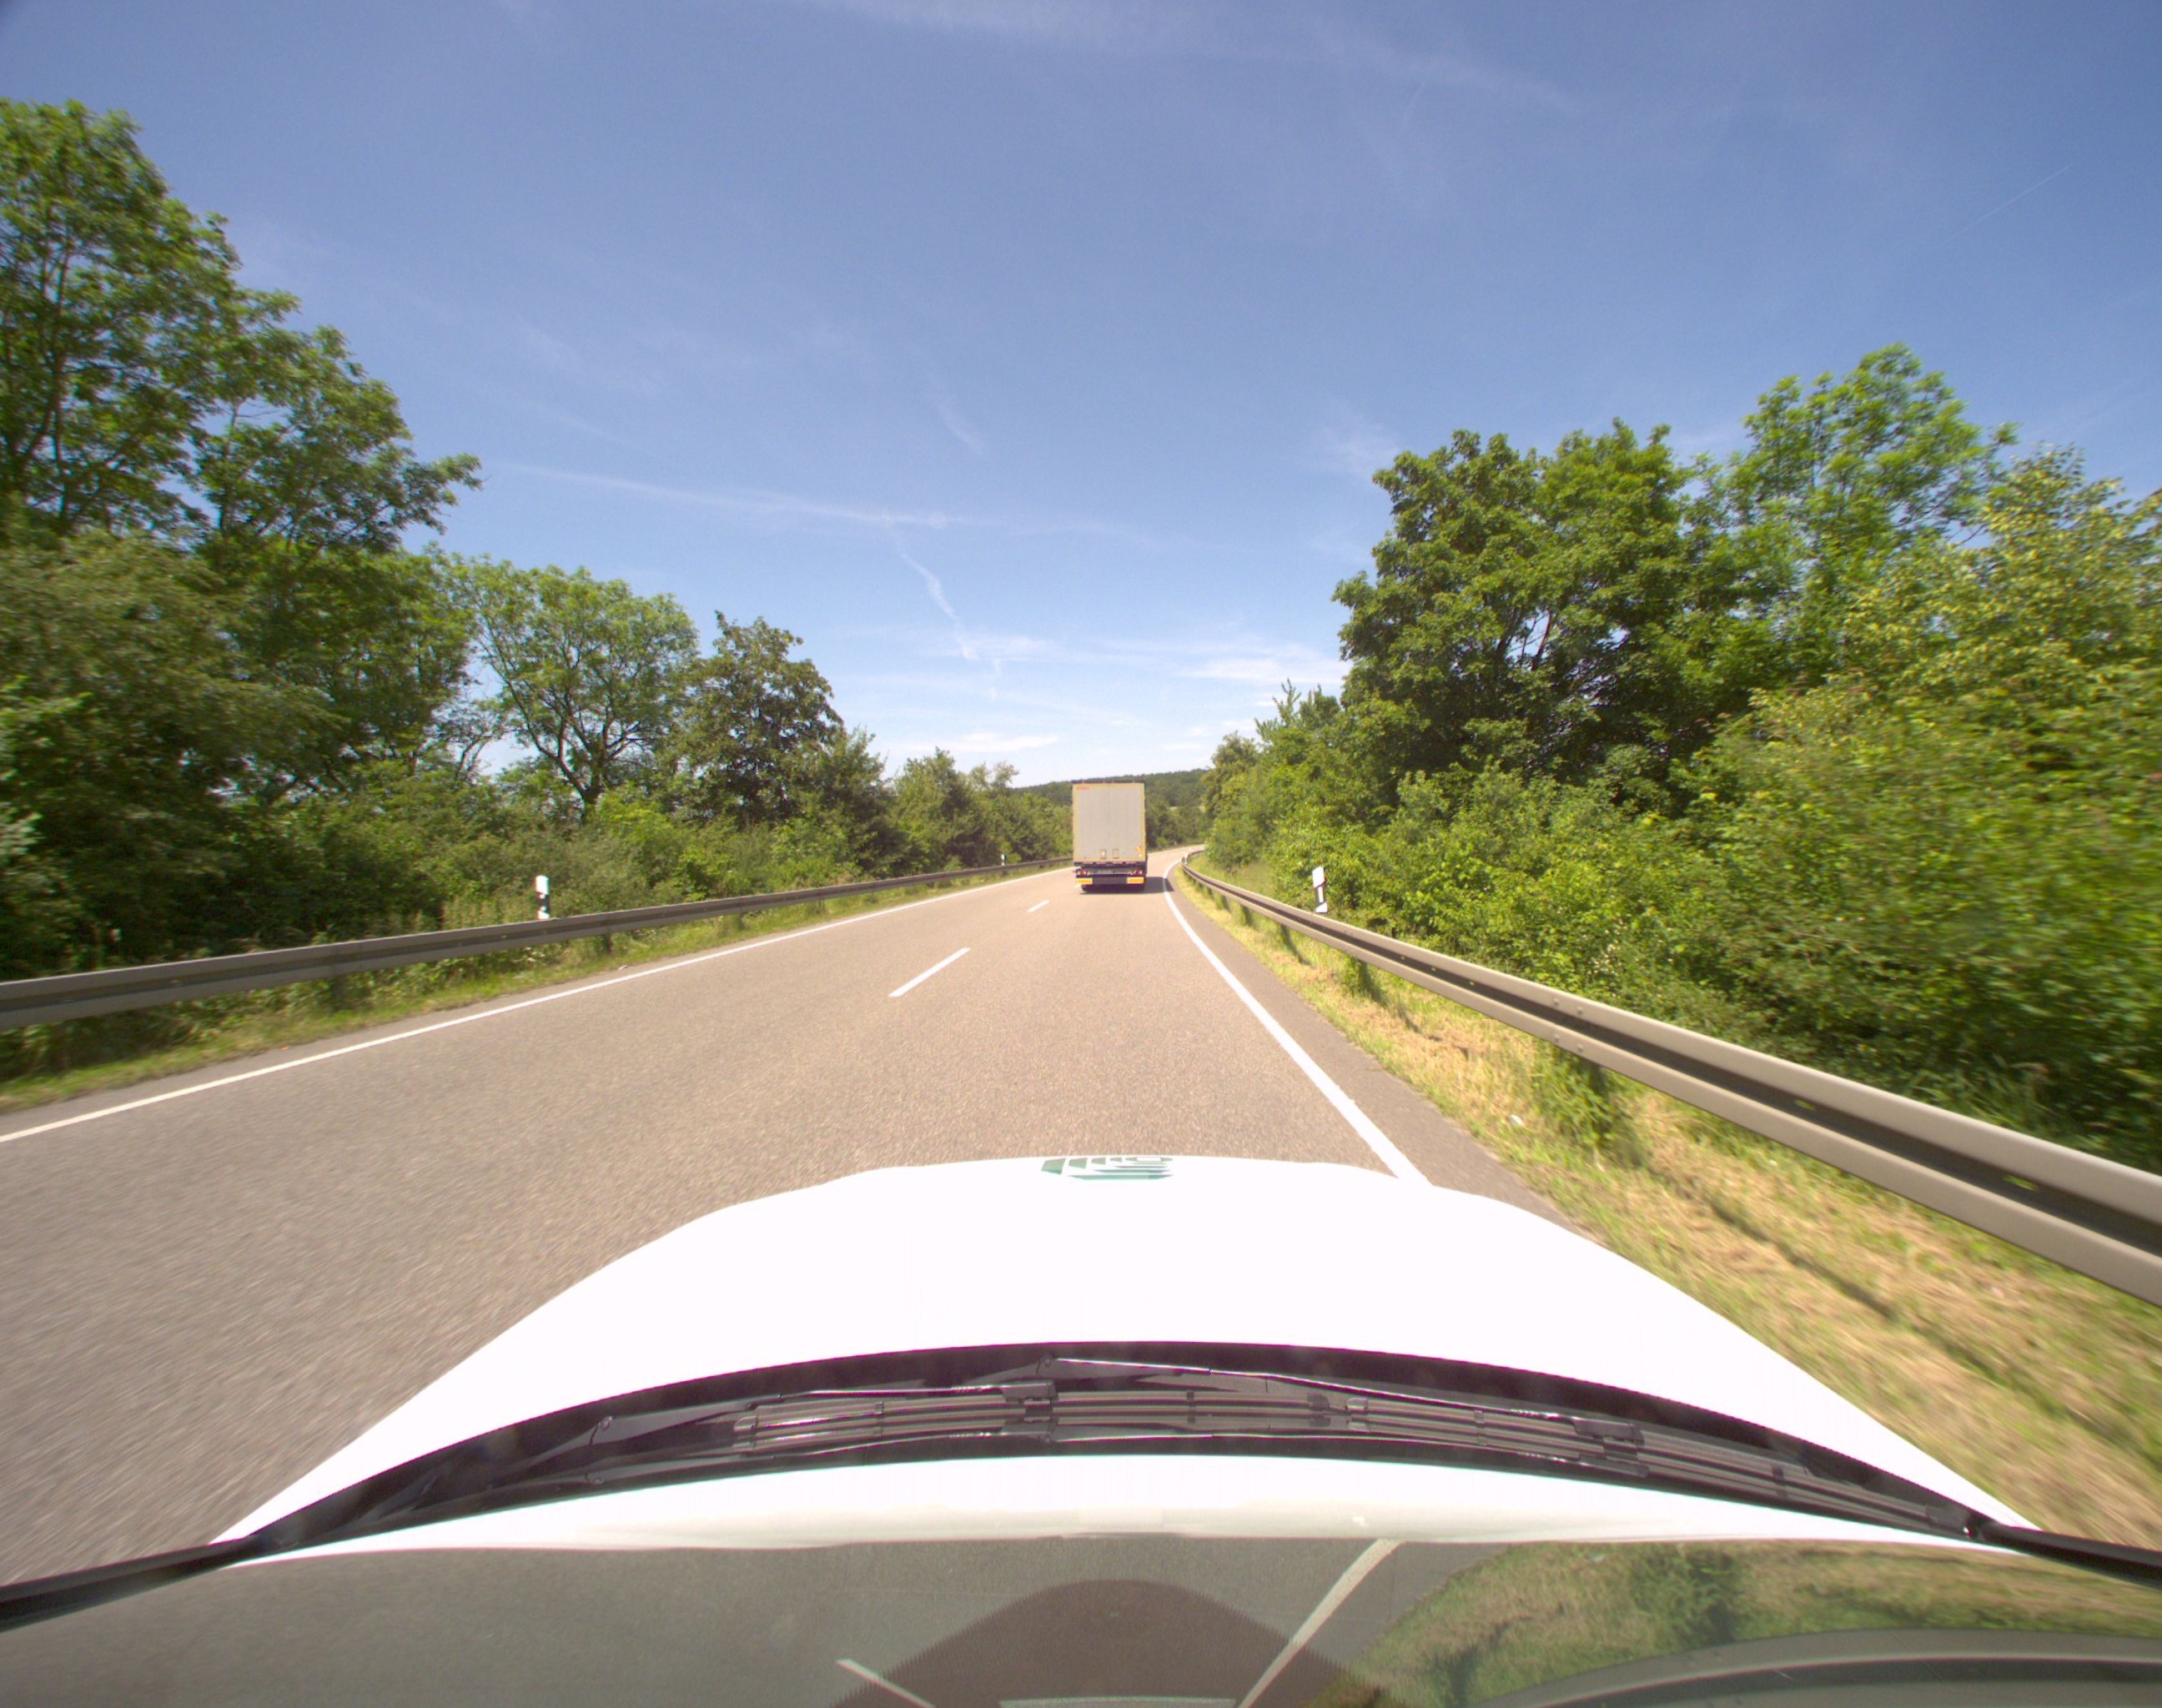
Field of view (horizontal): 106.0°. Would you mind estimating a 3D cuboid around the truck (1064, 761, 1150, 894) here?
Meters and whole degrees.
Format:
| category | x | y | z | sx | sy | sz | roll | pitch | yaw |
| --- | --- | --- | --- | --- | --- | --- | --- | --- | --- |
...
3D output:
| category | x | y | z | sx | sy | sz | roll | pitch | yaw |
| --- | --- | --- | --- | --- | --- | --- | --- | --- | --- |
| truck | 1.380 | -0.942 | 33.900 | 2.804 | 4.532 | 11.785 | -1 | 0 | 5 |
